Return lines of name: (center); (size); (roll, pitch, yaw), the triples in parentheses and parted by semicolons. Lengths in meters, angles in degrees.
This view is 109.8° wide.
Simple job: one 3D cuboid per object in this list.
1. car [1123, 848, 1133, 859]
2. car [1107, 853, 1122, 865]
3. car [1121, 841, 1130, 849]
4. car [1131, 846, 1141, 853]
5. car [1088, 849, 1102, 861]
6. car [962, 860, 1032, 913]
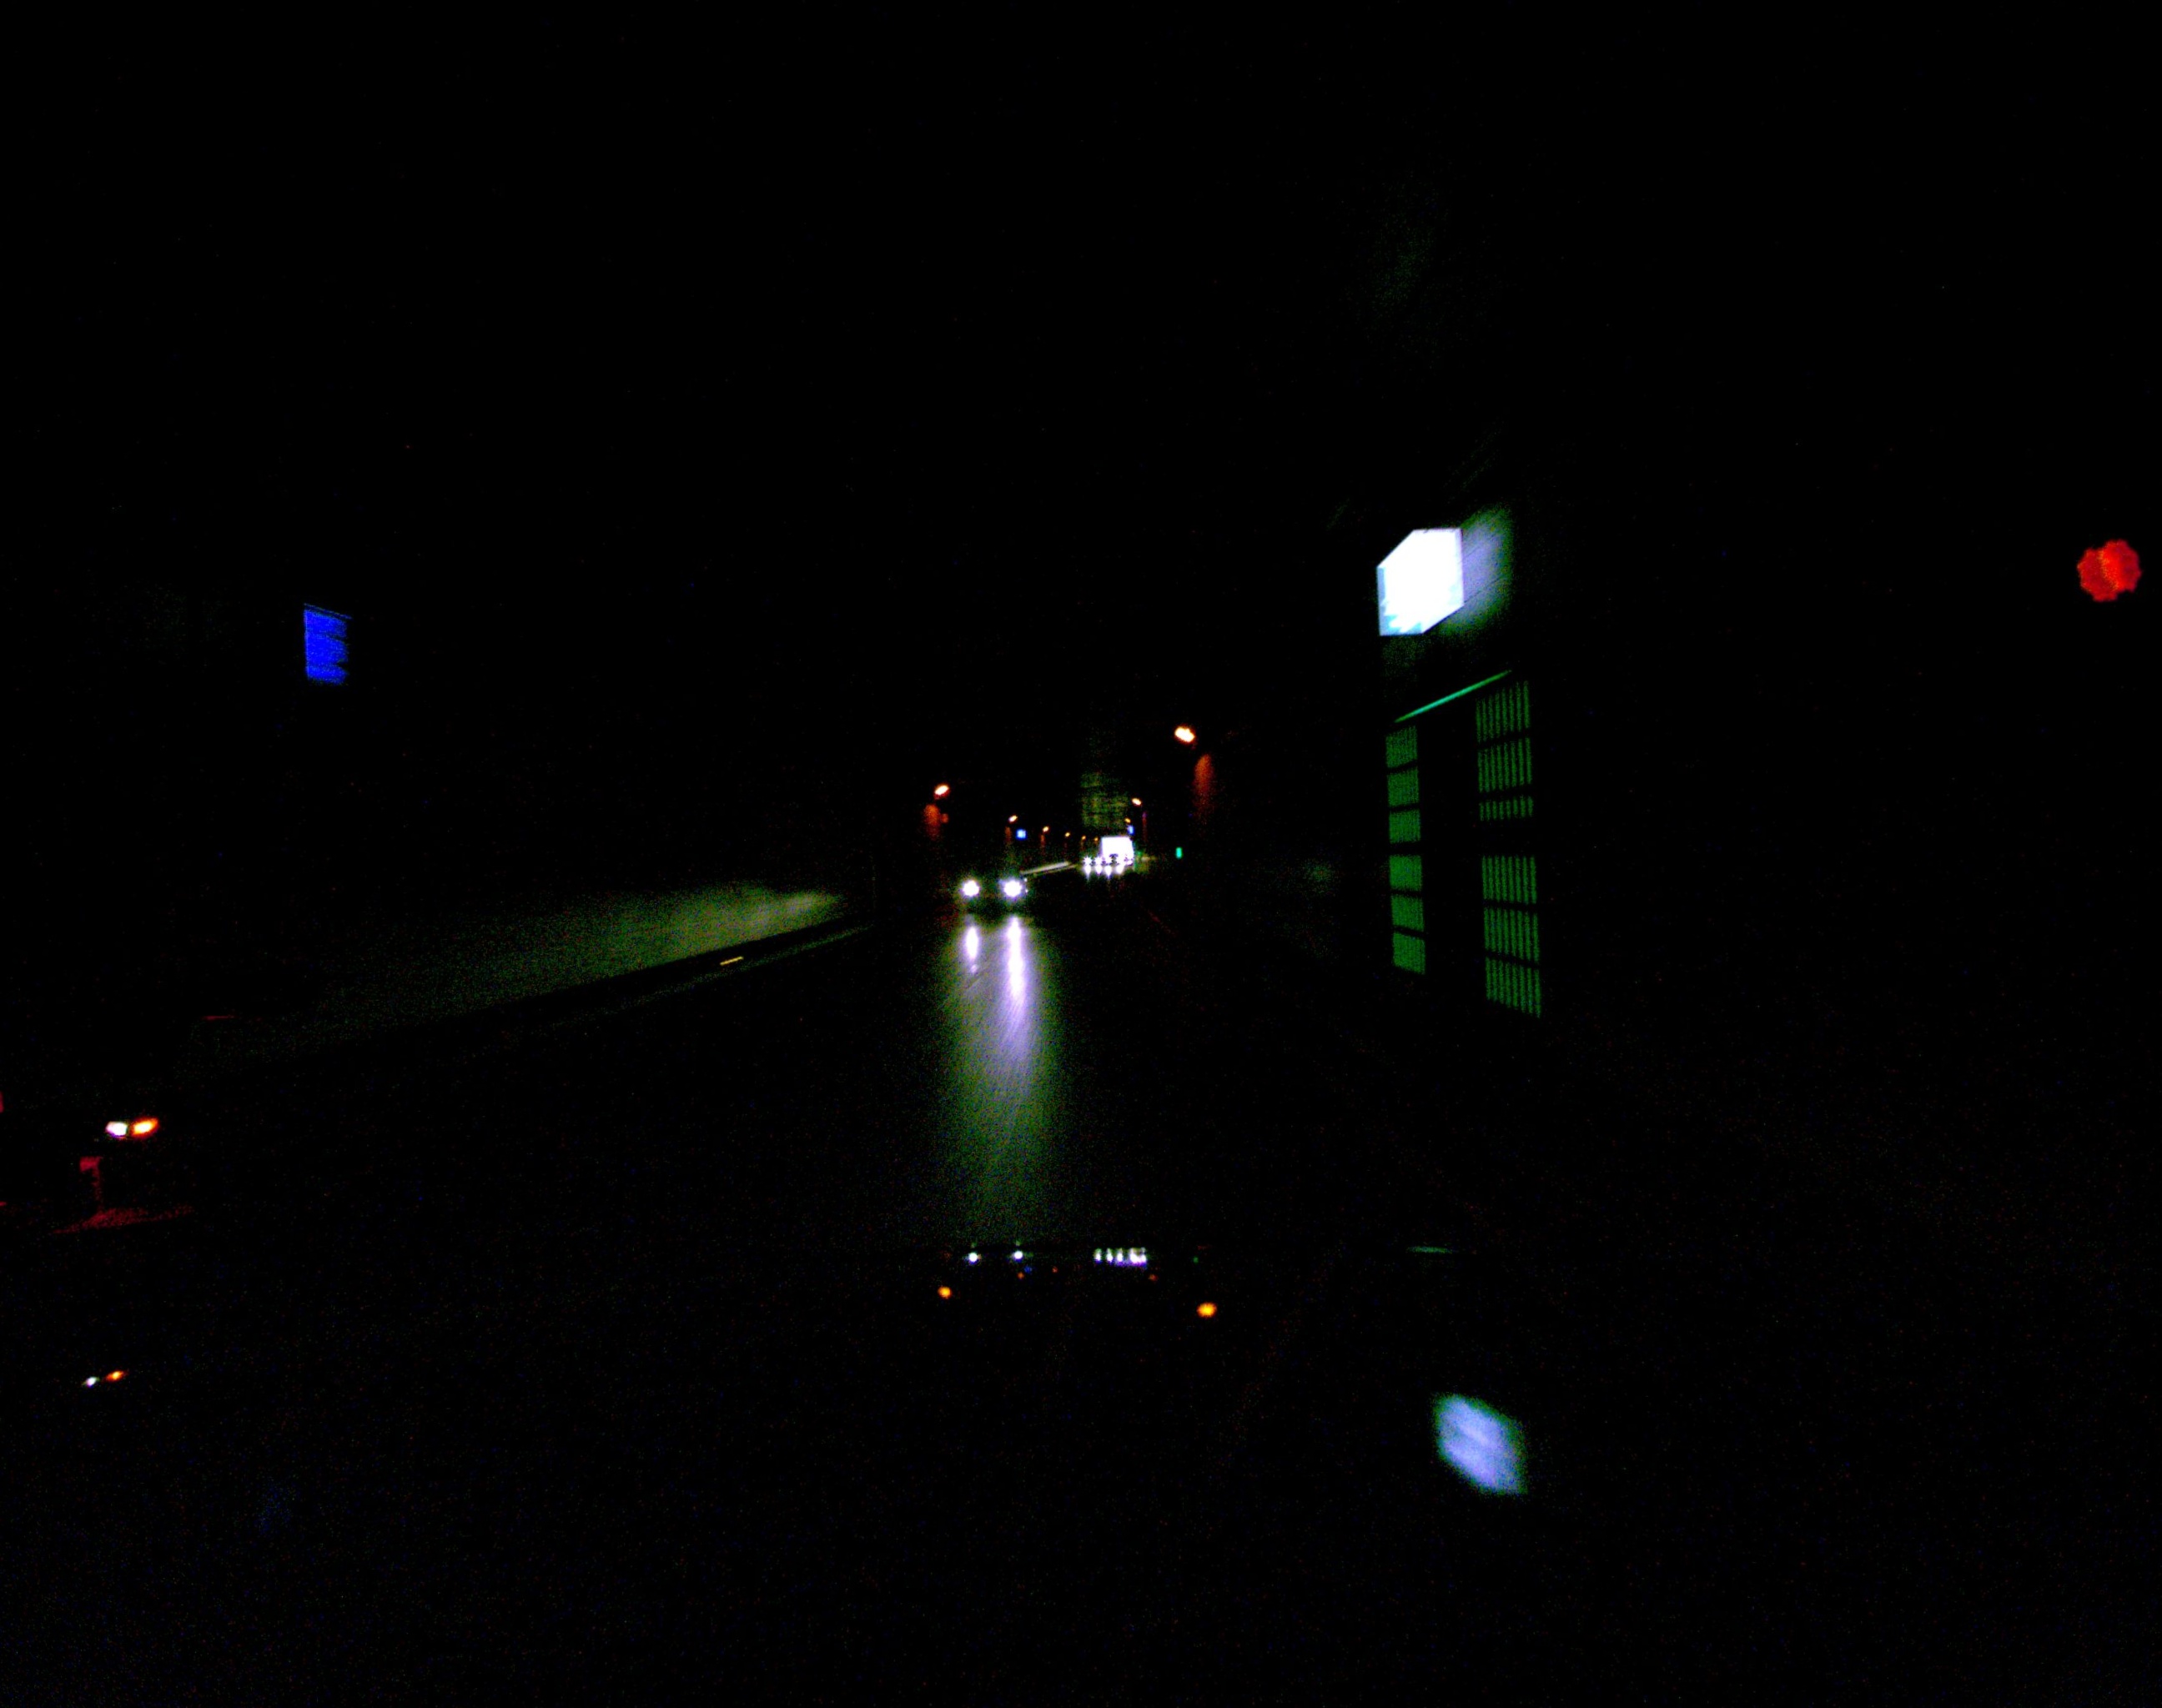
car: (8.664, -0.102, 140.004); (1.714, 1.729, 4.000); (-2, 2, 5)
car: (4.536, 0.614, 102.001); (1.819, 1.589, 4.001); (-1, 0, 5)
car: (11.052, -2.145, 187.668); (1.997, 1.904, 4.001); (-2, 1, 7)
car: (12.754, -1.003, 175.534); (1.810, 1.576, 4.002); (-3, 0, 9)
car: (2.073, 0.181, 109.296); (1.735, 1.565, 4.001); (-3, 0, 3)
car: (-2.551, 0.961, 23.899); (1.735, 1.395, 3.798); (-2, 1, 0)
